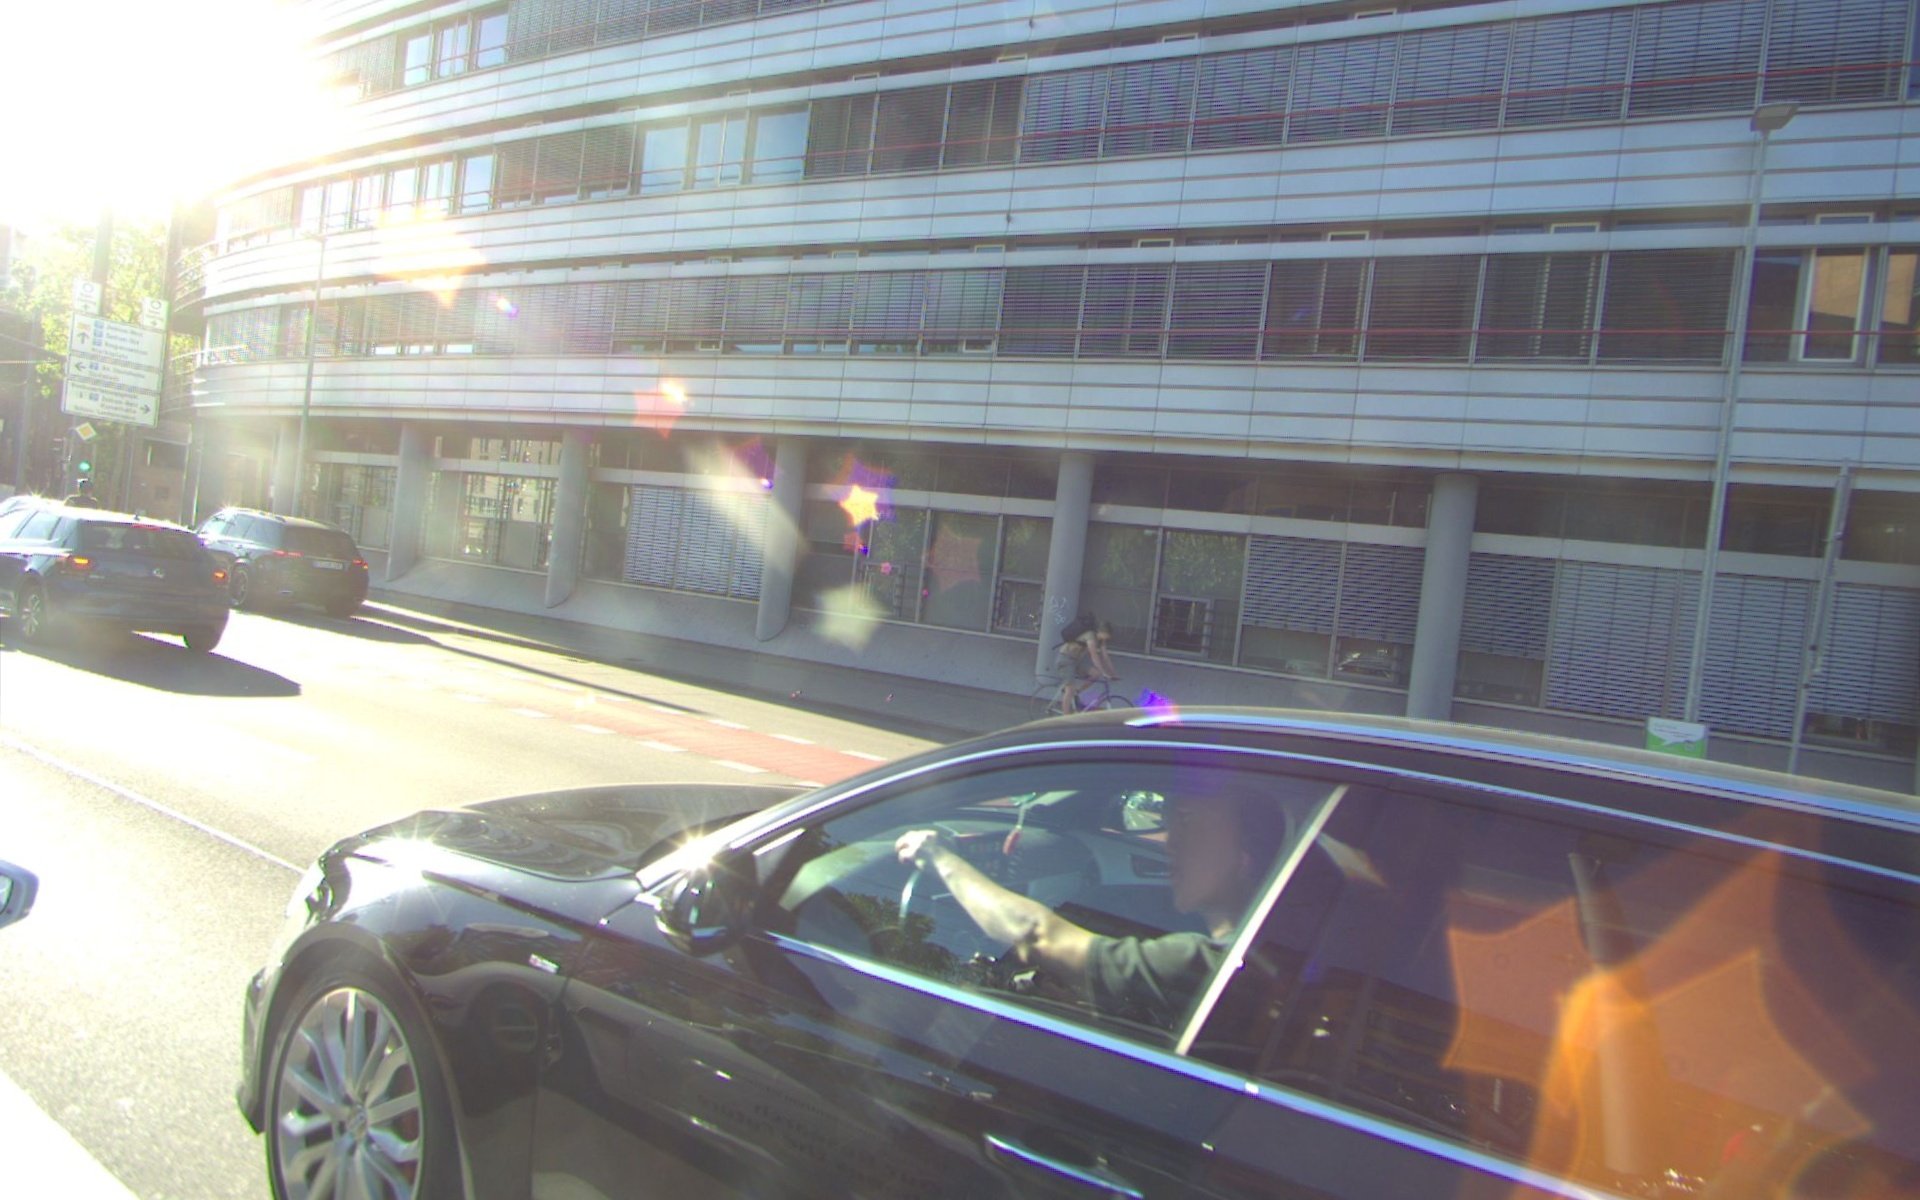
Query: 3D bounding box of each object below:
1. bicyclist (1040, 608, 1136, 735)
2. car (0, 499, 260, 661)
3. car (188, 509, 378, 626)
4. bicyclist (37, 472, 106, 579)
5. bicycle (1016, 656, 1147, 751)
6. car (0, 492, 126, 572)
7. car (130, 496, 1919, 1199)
[{"bbox_3d":[1.812,0.999,14.193,0.974,1.638,0.685,7,1,31],"label":"bicyclist"},{"bbox_3d":[-10.251,-0.309,11.757,3.933,1.474,1.811,7,-1,31],"label":"car"},{"bbox_3d":[-13.192,-0.666,19.505,4.269,1.771,1.990,7,0,42],"label":"car"},{"bbox_3d":[-15.984,-1.337,18.097,0.849,1.813,0.578,7,1,31],"label":"bicyclist"},{"bbox_3d":[1.690,1.426,14.109,1.673,1.072,0.504,6,2,31],"label":"bicycle"},{"bbox_3d":[-21.985,-1.699,24.063,3.935,1.436,1.997,8,-2,34],"label":"car"},{"bbox_3d":[0.313,0.804,2.131,4.422,1.509,1.815,7,-3,33],"label":"car"}]
